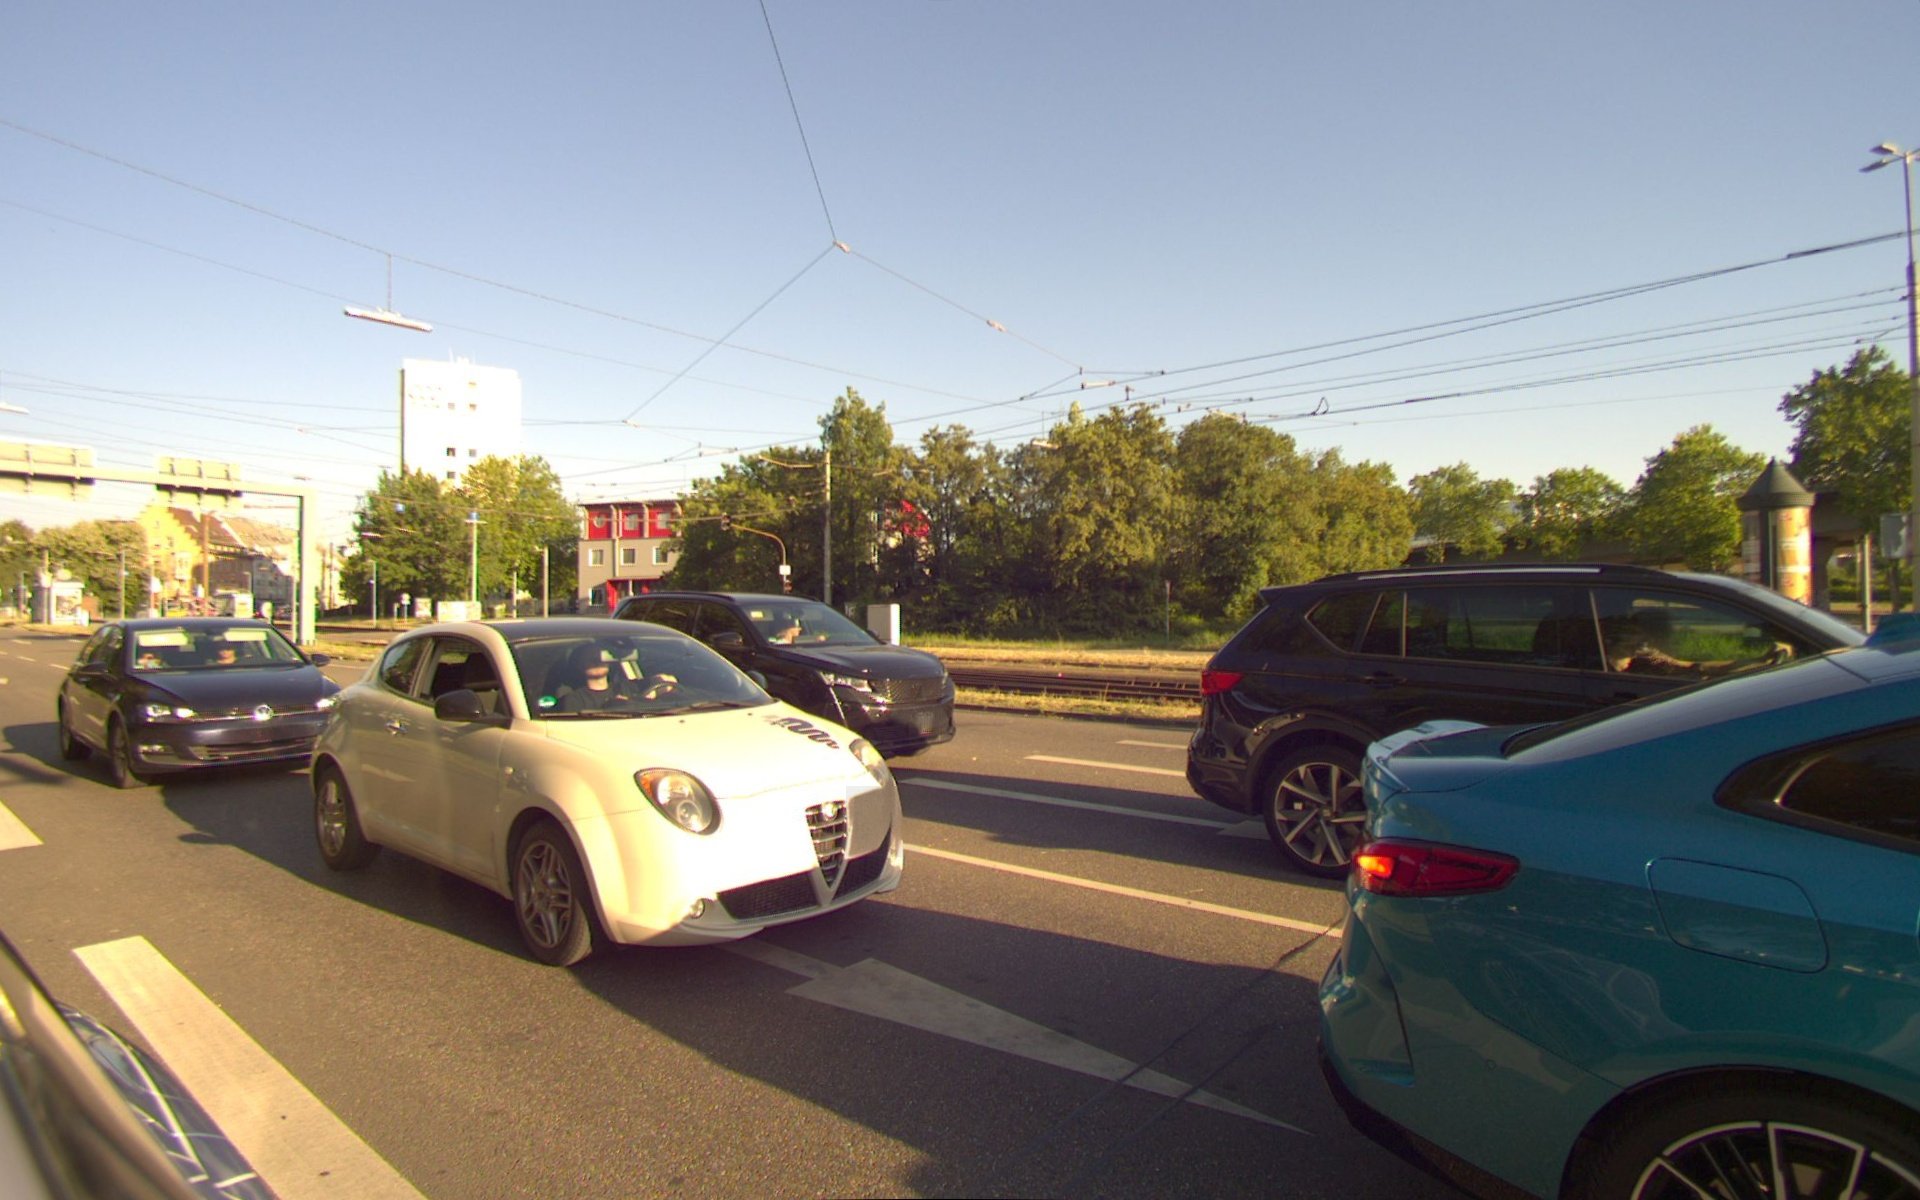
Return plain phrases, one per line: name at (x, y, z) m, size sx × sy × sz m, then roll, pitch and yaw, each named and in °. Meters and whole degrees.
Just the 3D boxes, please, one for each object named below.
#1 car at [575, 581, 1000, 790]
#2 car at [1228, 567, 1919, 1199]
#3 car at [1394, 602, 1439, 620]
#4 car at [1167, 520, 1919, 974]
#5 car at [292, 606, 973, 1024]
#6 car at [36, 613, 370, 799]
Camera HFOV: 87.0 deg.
car at (-1.951, 0.717, 10.353) m, size 4.601 × 1.661 × 1.894 m, roll -1°, pitch -1°, yaw 43°
car at (2.883, 0.652, 1.467) m, size 4.507 × 1.428 × 1.767 m, roll -1°, pitch -1°, yaw 39°
car at (38.823, 0.952, 86.240) m, size 1.972 × 1.497 × 4.000 m, roll 0°, pitch -1°, yaw 0°
car at (3.553, 0.565, 5.049) m, size 4.598 × 1.694 × 1.896 m, roll -1°, pitch -1°, yaw 40°
car at (-1.961, 0.773, 5.405) m, size 3.921 × 1.441 × 1.644 m, roll -1°, pitch -1°, yaw 40°
car at (-7.444, 0.861, 9.823) m, size 3.921 × 1.441 × 1.759 m, roll -1°, pitch -1°, yaw 40°
